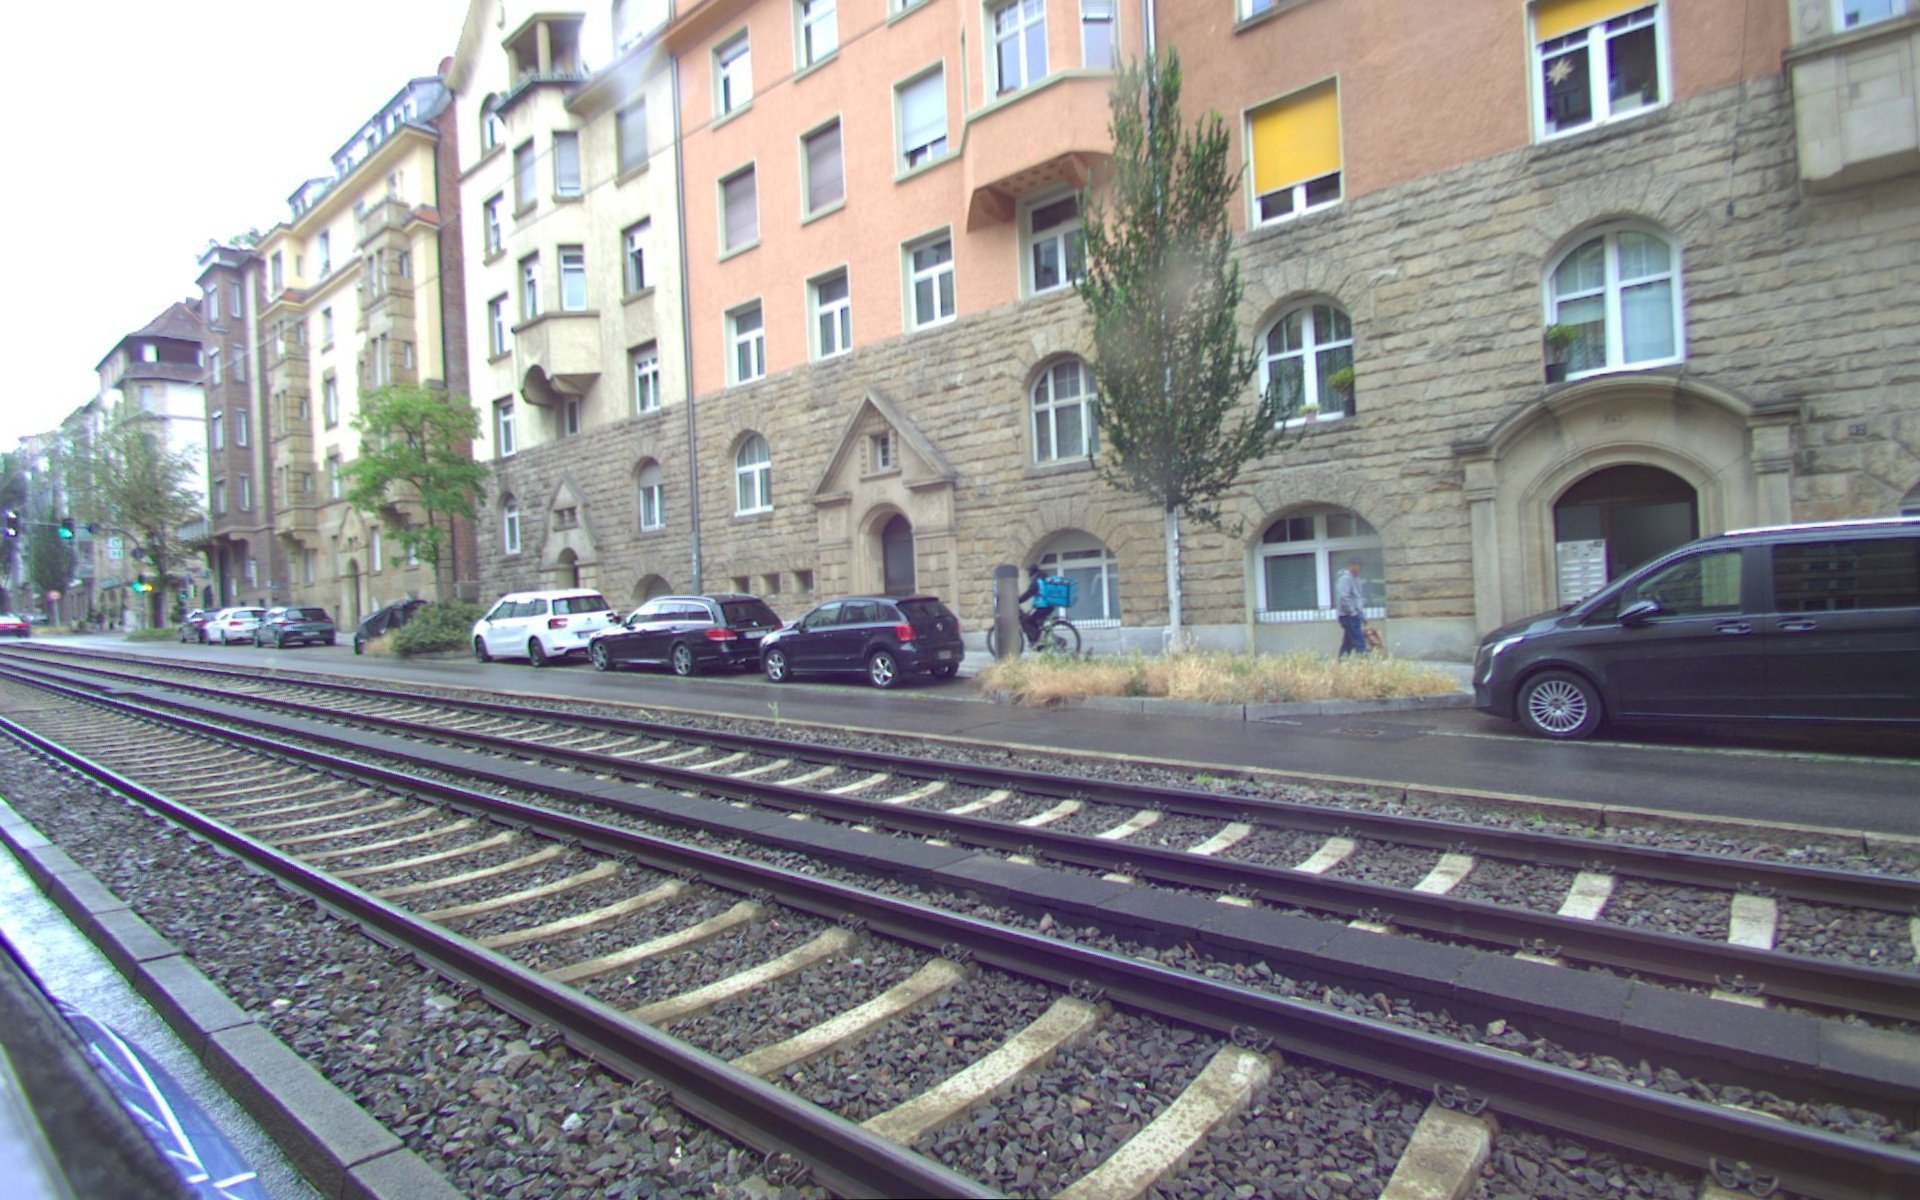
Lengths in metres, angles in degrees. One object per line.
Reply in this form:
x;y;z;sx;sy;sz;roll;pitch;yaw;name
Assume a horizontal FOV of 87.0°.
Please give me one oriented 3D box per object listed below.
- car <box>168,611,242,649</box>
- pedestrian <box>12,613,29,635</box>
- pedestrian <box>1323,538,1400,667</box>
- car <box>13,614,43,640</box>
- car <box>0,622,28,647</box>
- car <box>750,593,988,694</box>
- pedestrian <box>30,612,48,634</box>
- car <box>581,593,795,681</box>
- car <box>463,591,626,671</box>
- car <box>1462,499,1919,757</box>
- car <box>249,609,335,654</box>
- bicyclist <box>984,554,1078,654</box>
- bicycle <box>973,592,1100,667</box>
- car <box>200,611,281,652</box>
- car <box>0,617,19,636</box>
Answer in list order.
-32.152;1.262;43.089;3.843;1.452;1.748;-1;0;41;car
-86.057;2.172;92.688;1.163;1.972;1.042;-1;0;43;pedestrian
5.345;0.035;13.474;0.765;1.654;0.692;-1;0;41;pedestrian
-69.048;1.987;74.978;1.561;1.691;3.794;-2;2;-43;car
-60.428;2.168;63.883;4.962;1.535;1.784;-1;0;41;car
-1.565;0.665;16.918;3.638;1.508;1.912;-1;0;38;car
-85.239;2.162;93.648;1.163;1.972;1.042;-1;0;43;pedestrian
-5.446;0.693;19.940;4.599;1.506;1.824;-1;0;41;car
-9.754;0.698;23.613;4.144;1.668;1.843;-1;0;41;car
7.337;0.212;8.983;4.823;1.956;1.973;-1;0;41;car
-23.692;1.092;35.863;3.845;1.452;1.656;-1;1;43;car
1.224;0.067;17.405;1.250;1.608;0.877;-2;4;34;bicyclist
1.303;0.502;17.433;2.033;1.195;0.816;-2;1;36;bicycle
-28.293;1.207;39.766;4.030;1.452;1.748;-1;1;42;car
-80.924;2.284;85.417;3.843;1.527;1.748;-1;0;41;car
